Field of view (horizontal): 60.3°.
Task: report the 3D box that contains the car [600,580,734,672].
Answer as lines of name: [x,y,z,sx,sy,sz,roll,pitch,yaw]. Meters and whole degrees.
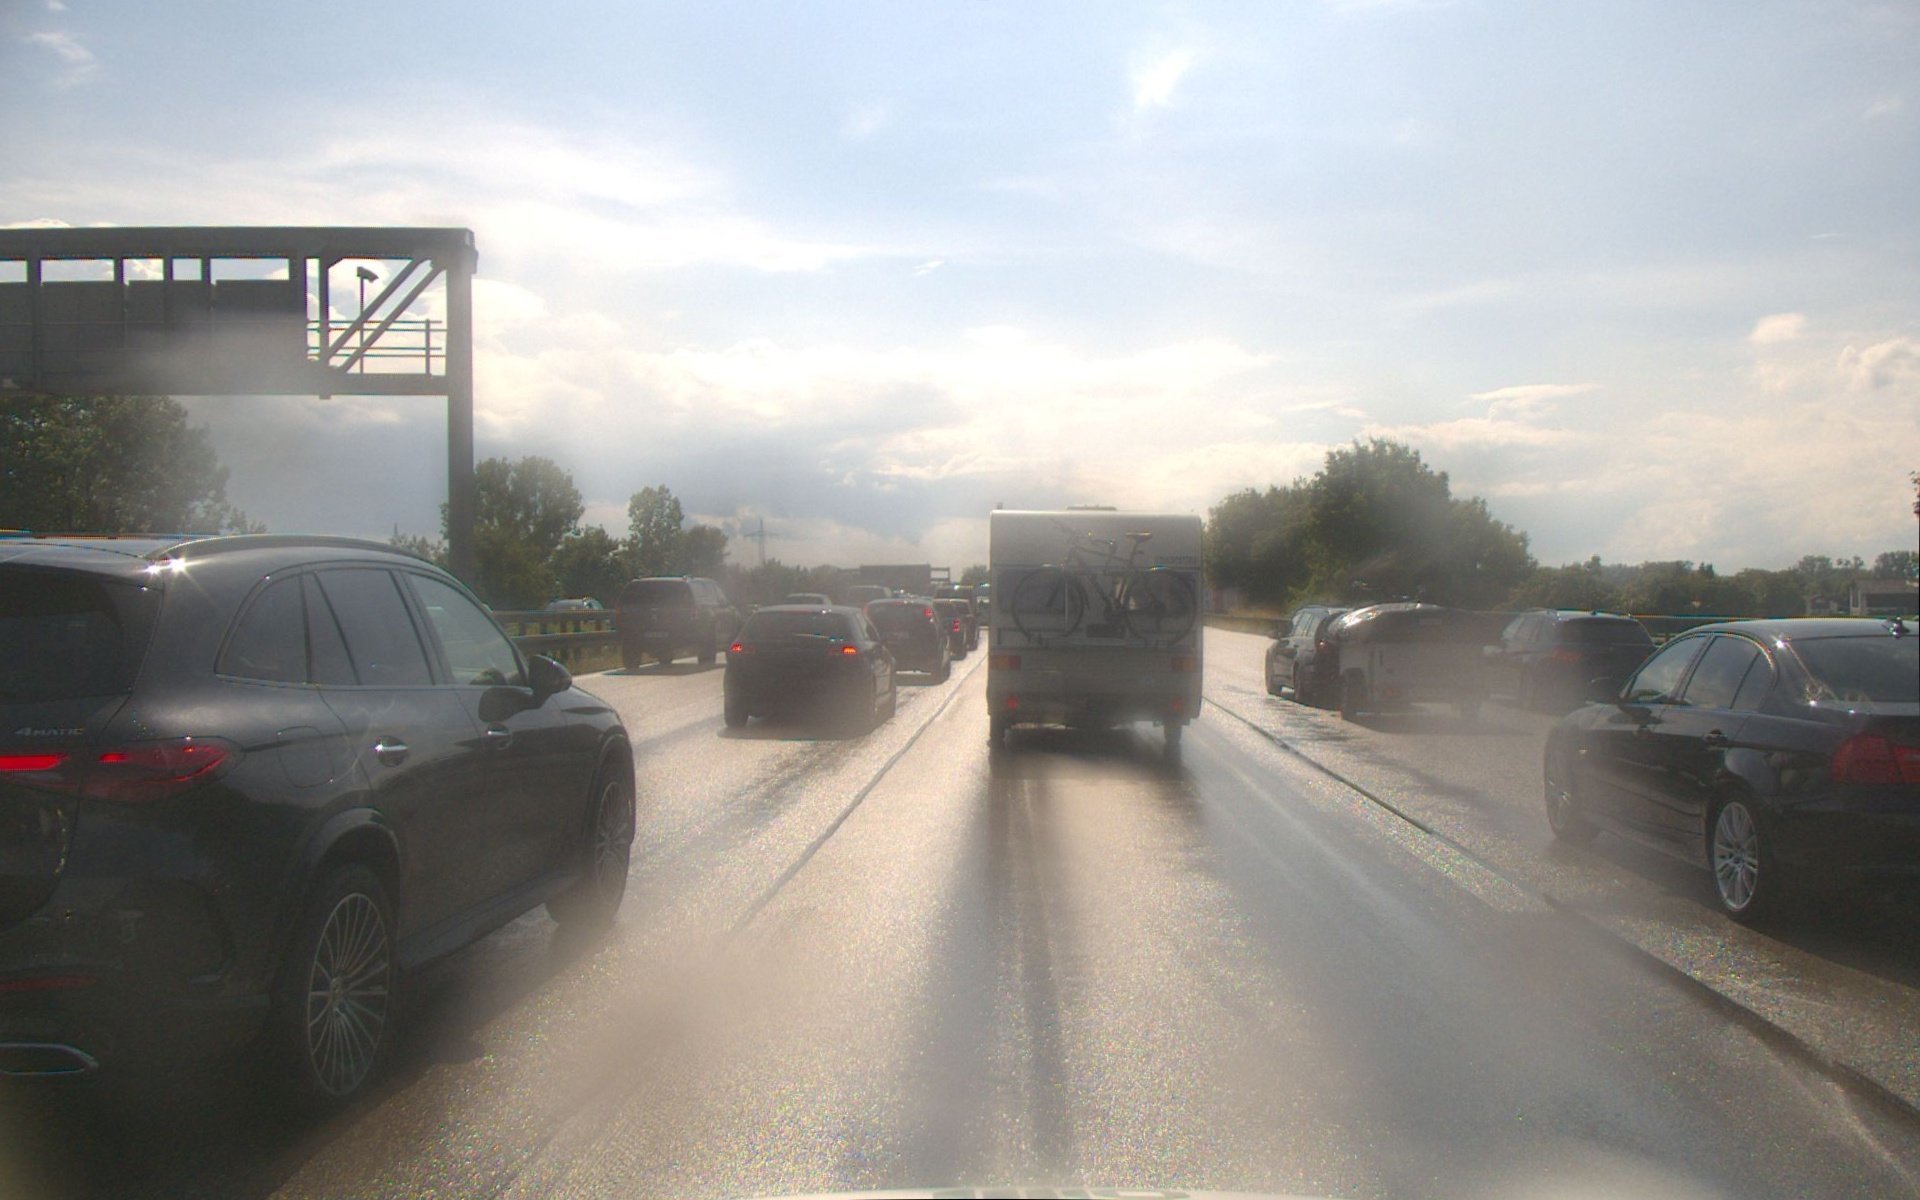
car: [-5.967,0.514,34.161,1.952,1.750,4.000,1,0,1]

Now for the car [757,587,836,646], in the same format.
car: [-5.294,0.522,53.981,1.952,1.803,4.001,1,0,3]

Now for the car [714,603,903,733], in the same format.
car: [-1.738,0.751,20.148,1.720,1.411,3.946,0,0,3]

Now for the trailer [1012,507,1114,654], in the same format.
trailer: [3.336,-0.552,52.595,2.944,4.239,8.540,1,0,4]

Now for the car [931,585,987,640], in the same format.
car: [0.000,0.483,64.514,1.952,2.049,4.001,1,0,3]

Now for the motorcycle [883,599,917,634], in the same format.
motorcycle: [-2.272,0.634,62.954,1.051,1.293,2.691,0,0,3]

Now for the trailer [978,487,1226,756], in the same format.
trailer: [1.484,0.222,19.075,2.325,2.527,6.524,1,0,2]

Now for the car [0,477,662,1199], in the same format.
car: [-2.541,0.587,5.808,1.952,1.690,4.407,0,0,3]

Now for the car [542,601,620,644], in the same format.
car: [-13.058,0.752,57.169,1.720,1.404,3.877,0,0,2]

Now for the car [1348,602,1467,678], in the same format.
car: [9.378,0.808,34.915,1.636,1.508,3.672,0,0,2]

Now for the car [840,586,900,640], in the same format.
car: [-3.736,0.515,69.066,1.952,2.048,4.001,4,0,3]

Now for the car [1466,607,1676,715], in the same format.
car: [8.941,0.831,24.577,1.734,1.426,4.291,1,0,3]

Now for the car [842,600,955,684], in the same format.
car: [-1.082,0.751,30.900,1.768,1.432,4.001,1,0,2]

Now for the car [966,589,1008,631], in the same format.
car: [1.379,0.486,83.247,1.952,2.049,4.001,1,0,3]

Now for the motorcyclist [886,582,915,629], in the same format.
motorcyclist: [-2.266,0.212,63.102,1.041,1.748,0.785,1,-1,3]

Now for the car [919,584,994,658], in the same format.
car: [-0.052,0.615,50.796,1.952,2.048,4.001,4,0,3]

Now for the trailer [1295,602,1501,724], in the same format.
trailer: [5.758,0.767,22.245,1.816,1.467,4.149,0,0,2]

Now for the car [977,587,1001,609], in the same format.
car: [2.429,-0.143,138.482,1.838,1.791,3.999,1,0,-1]

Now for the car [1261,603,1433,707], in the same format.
car: [5.892,0.782,25.631,1.816,1.467,4.259,0,0,2]

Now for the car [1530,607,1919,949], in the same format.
car: [4.551,0.777,8.996,1.704,1.445,3.837,0,0,2]

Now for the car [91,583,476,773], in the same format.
car: [-6.181,0.639,15.696,1.720,1.543,4.210,0,0,3]

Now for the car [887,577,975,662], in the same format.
car: [-0.689,0.476,42.481,1.952,2.049,4.001,1,0,3]
